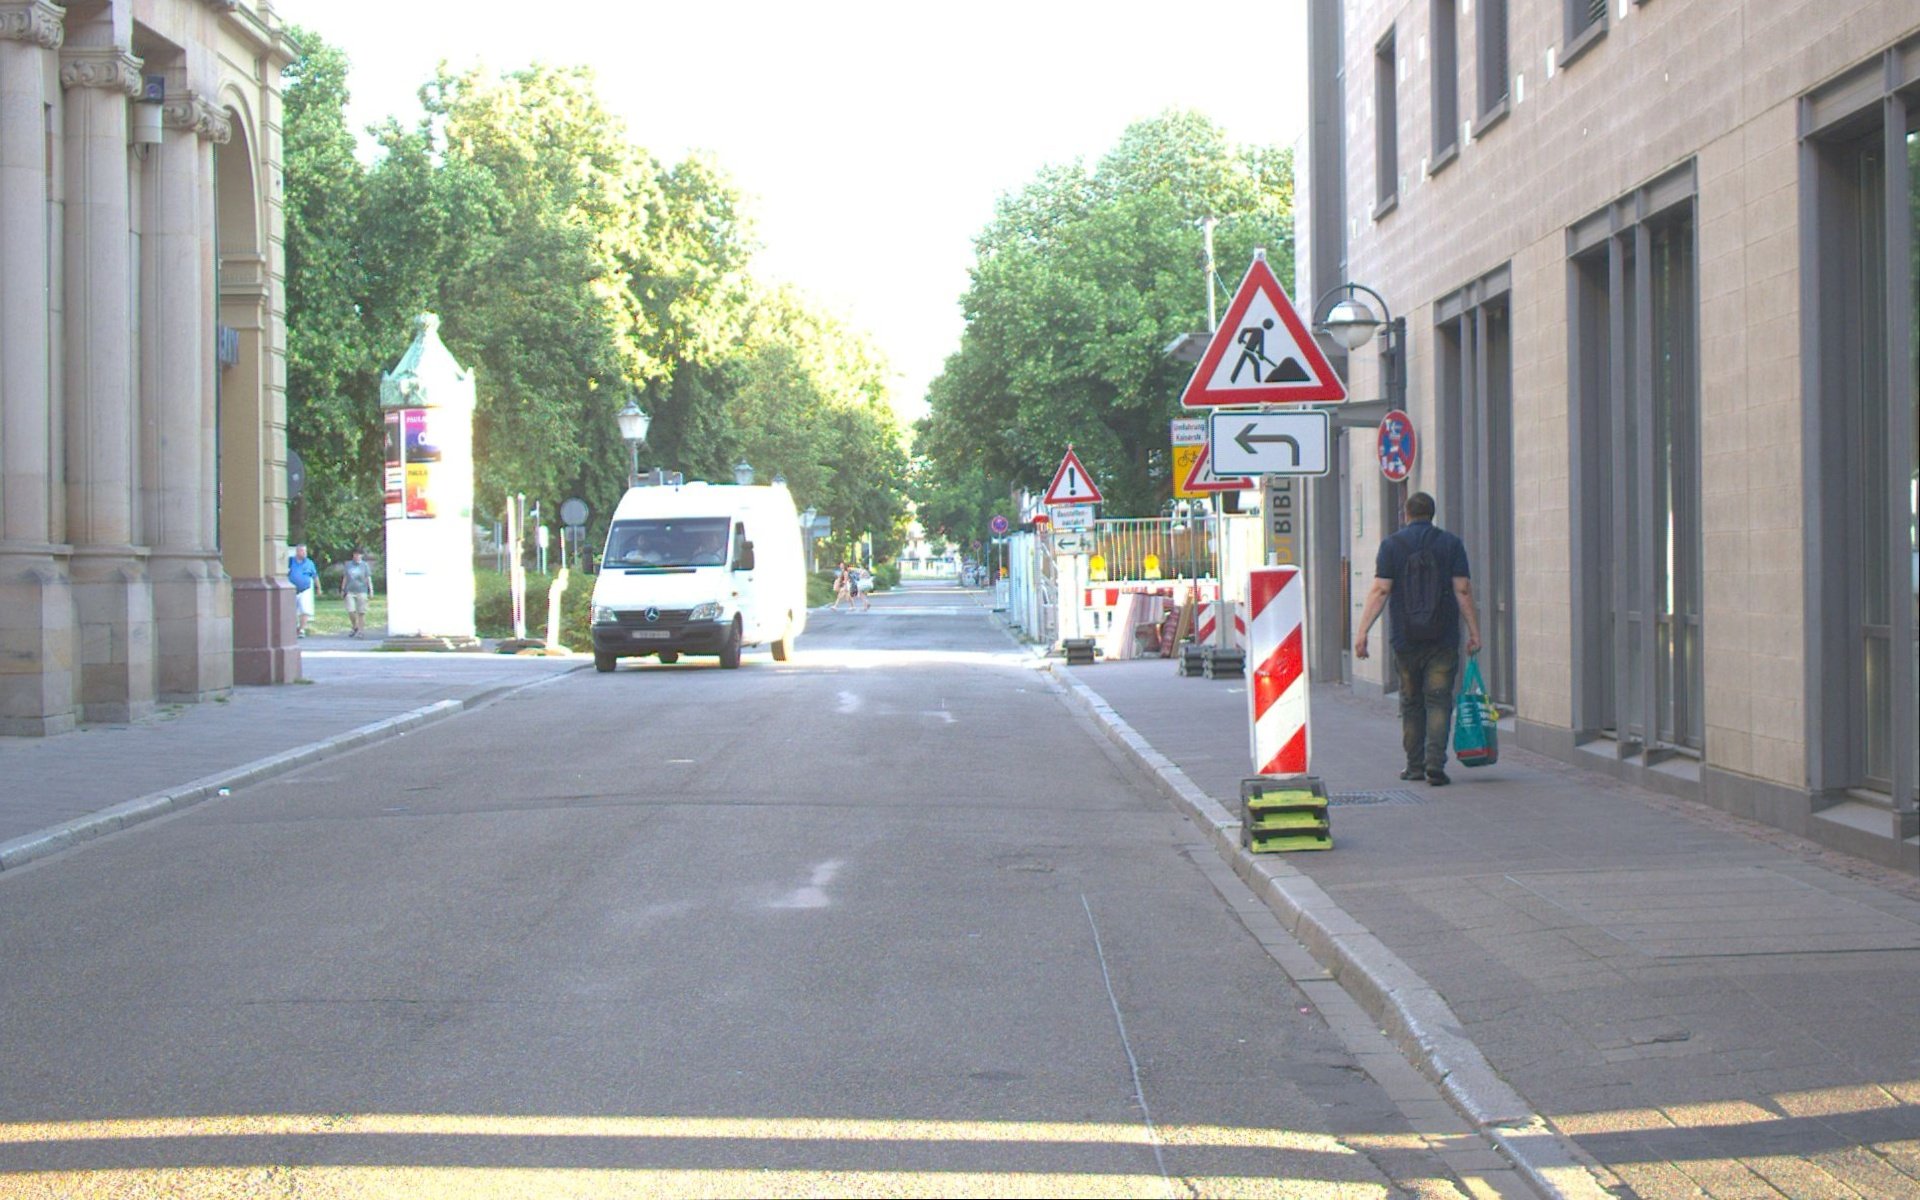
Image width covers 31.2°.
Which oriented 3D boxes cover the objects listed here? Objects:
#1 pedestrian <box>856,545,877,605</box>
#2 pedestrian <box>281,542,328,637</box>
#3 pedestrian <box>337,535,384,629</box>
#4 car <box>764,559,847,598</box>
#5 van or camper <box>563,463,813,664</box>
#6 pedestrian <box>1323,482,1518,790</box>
[{"bbox_3d":[-3.134,-0.832,115.009,0.609,2.007,0.905,0,1,-8],"label":"pedestrian"},{"bbox_3d":[-12.540,-0.199,65.754,0.849,1.801,0.664,0,1,-13],"label":"pedestrian"},{"bbox_3d":[-11.493,-0.345,65.892,0.849,1.801,0.664,0,1,-13],"label":"pedestrian"},{"bbox_3d":[-7.229,-0.999,160.964,3.564,1.777,1.789,-1,0,9],"label":"car"},{"bbox_3d":[-3.649,-0.519,47.458,2.219,2.576,6.370,0,1,7],"label":"van or camper"},{"bbox_3d":[2.785,0.213,20.867,1.000,1.797,0.882,-2,0,-1],"label":"pedestrian"}]
